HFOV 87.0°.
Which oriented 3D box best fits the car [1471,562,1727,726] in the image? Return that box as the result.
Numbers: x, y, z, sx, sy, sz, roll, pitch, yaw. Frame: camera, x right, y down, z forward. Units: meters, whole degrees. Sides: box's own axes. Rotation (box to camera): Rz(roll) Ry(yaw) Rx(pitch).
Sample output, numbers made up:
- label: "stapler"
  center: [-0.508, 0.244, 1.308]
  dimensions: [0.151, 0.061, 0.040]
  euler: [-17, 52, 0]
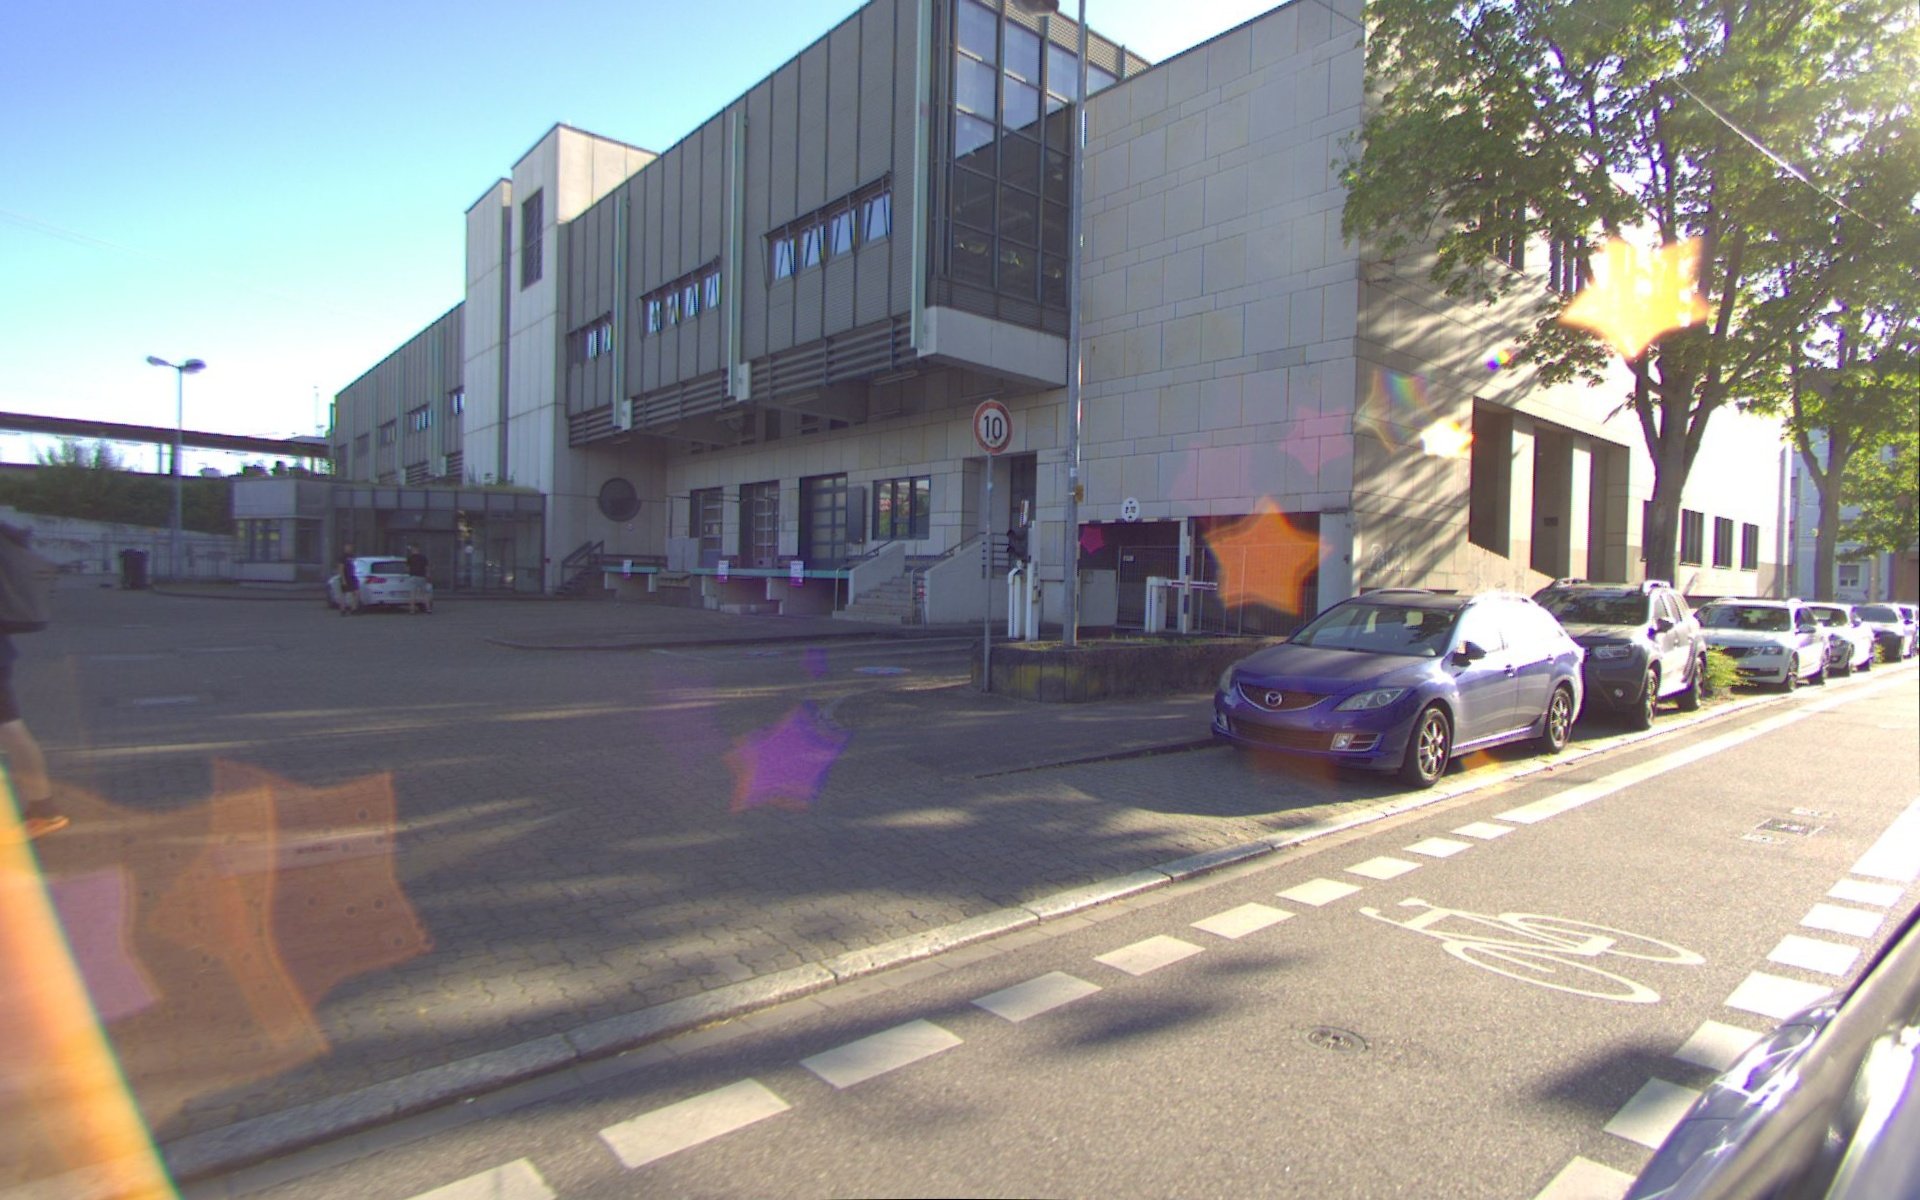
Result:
- label: "car"
  center: [8.151, 0.423, 12.748]
  dimensions: [4.206, 1.733, 1.743]
  euler: [-1, 2, -44]

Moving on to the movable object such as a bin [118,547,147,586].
- label: "movable object such as a bin"
  center: [-28.199, -1.128, 34.484]
  dimensions: [0.766, 1.295, 0.903]
  euler: [0, 1, -41]

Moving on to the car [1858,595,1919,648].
- label: "car"
  center: [29.071, 0.626, 31.135]
  dimensions: [3.930, 1.498, 1.653]
  euler: [-1, 1, -41]

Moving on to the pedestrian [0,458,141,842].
- label: "pedestrian"
  center: [-4.809, 0.213, 4.908]
  dimensions: [1.281, 1.810, 0.672]
  euler: [0, 5, -41]

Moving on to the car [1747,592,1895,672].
- label: "car"
  center: [18.258, 0.594, 21.395]
  dimensions: [4.253, 1.425, 1.712]
  euler: [-1, 3, -41]

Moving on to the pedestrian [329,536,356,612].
- label: "pedestrian"
  center: [-14.946, -0.619, 24.477]
  dimensions: [0.502, 1.803, 0.481]
  euler: [0, 0, -39]

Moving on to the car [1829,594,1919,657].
- label: "car"
  center: [24.784, 0.611, 27.120]
  dimensions: [4.582, 1.425, 1.680]
  euler: [-1, 4, -43]

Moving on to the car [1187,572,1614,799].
- label: "car"
  center: [4.182, 0.559, 9.216]
  dimensions: [4.577, 1.499, 1.706]
  euler: [-1, 5, -41]

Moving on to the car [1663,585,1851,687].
- label: "car"
  center: [13.928, 0.553, 17.586]
  dimensions: [4.542, 1.508, 1.716]
  euler: [1, 2, -41]

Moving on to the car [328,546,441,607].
- label: "car"
  center: [-15.224, -0.601, 26.685]
  dimensions: [1.868, 1.492, 4.081]
  euler: [-1, 1, -41]

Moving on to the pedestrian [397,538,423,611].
- label: "pedestrian"
  center: [-13.715, -0.632, 25.246]
  dimensions: [0.502, 1.803, 0.481]
  euler: [0, 0, -39]
